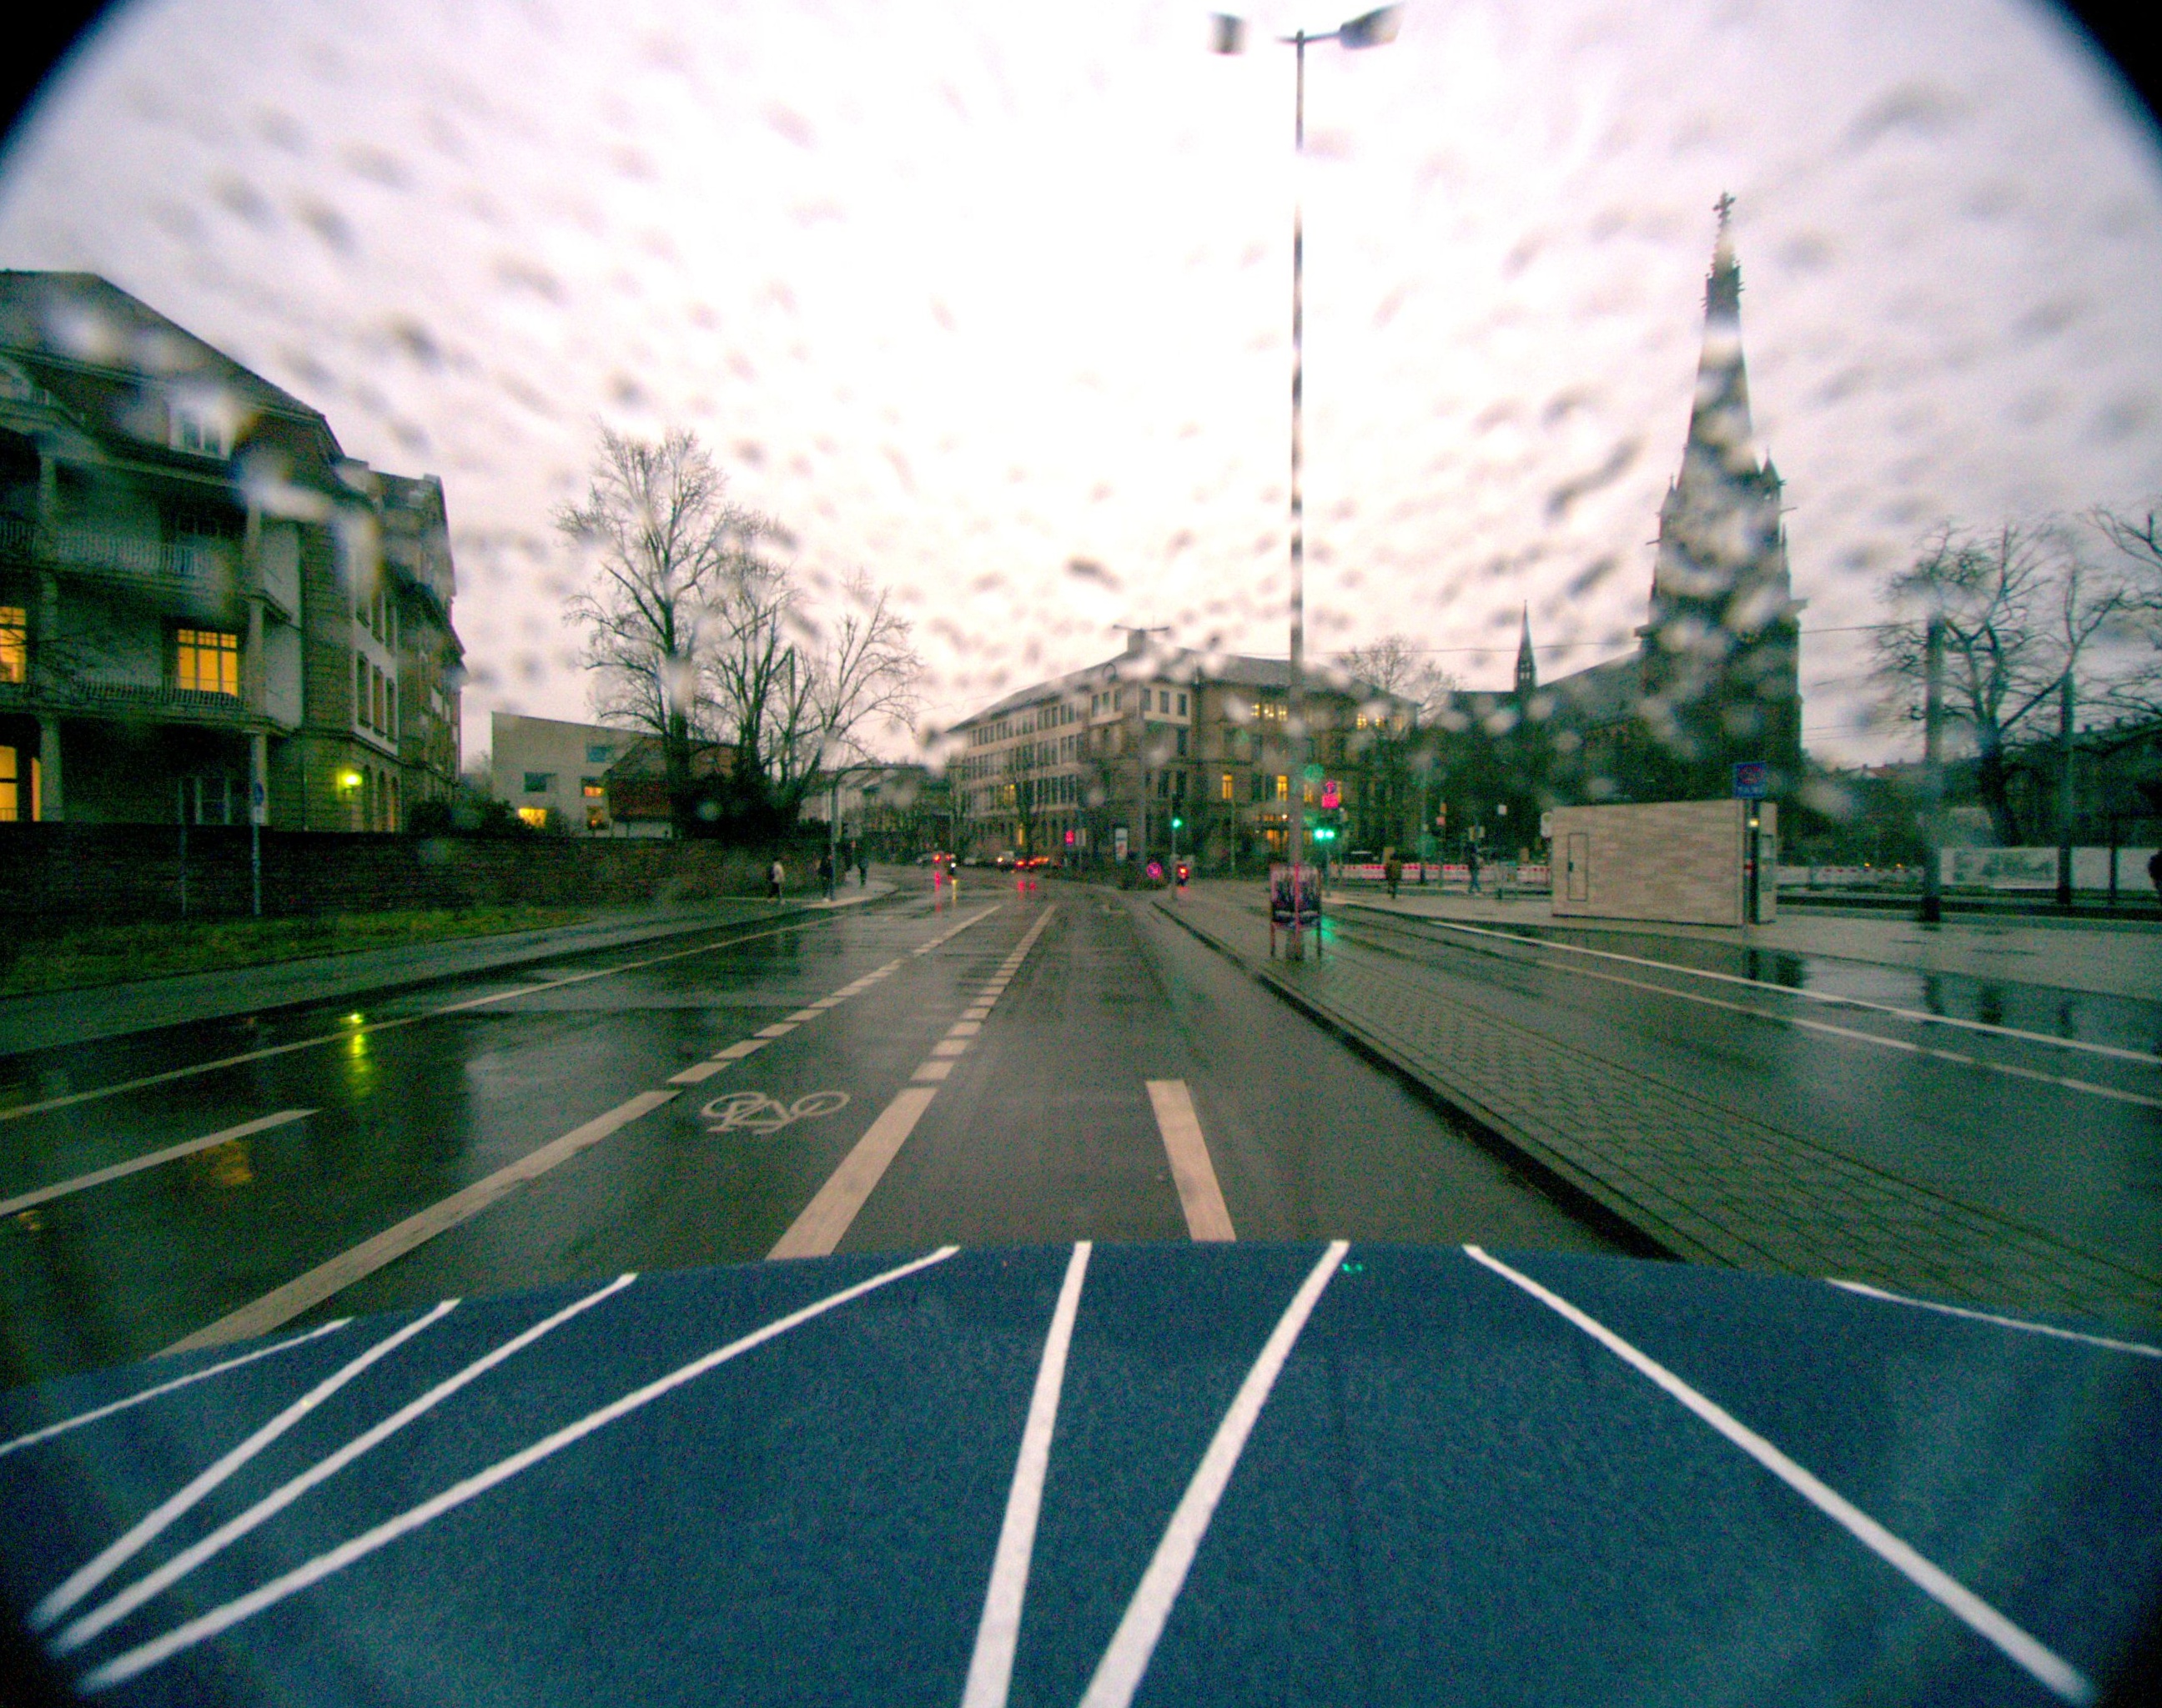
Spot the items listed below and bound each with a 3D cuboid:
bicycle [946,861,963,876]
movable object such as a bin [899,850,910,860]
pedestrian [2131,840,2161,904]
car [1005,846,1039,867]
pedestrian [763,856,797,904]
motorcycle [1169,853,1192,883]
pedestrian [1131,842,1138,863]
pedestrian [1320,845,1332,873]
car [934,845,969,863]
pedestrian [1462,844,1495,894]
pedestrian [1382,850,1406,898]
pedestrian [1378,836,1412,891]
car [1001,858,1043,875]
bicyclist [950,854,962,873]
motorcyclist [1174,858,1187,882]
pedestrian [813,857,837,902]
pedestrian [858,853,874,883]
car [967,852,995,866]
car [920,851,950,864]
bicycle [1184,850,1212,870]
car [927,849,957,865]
[{"bbox_3d":[-9.316,1.073,55.801,0.725,1.084,2.281,-2,0,-23],"label":"bicycle"},{"bbox_3d":[-26.426,0.085,113.749,1.341,1.456,0.987,-1,3,19],"label":"movable object such as a bin"},{"bbox_3d":[30.085,0.501,21.280,0.715,1.747,0.715,-2,3,-34],"label":"pedestrian"},{"bbox_3d":[-6.472,0.233,83.662,1.908,2.022,4.809,-1,2,19],"label":"car"},{"bbox_3d":[-10.842,0.915,27.375,0.964,1.666,0.777,0,1,-38],"label":"pedestrian"},{"bbox_3d":[5.076,0.678,38.863,0.831,1.488,2.314,0,1,-1],"label":"motorcycle"},{"bbox_3d":[5.131,-0.163,73.020,0.571,2.003,0.587,-1,3,5],"label":"pedestrian"},{"bbox_3d":[18.092,0.366,56.134,0.740,2.003,0.646,0,3,28],"label":"pedestrian"},{"bbox_3d":[-17.013,-0.026,99.951,1.961,2.042,4.629,0,3,29],"label":"car"},{"bbox_3d":[14.913,0.553,28.515,0.605,1.803,0.824,-4,1,-12],"label":"pedestrian"},{"bbox_3d":[11.218,0.699,27.235,0.673,1.665,0.731,0,3,32],"label":"pedestrian"},{"bbox_3d":[13.952,0.414,33.790,0.996,2.357,1.063,-2,3,-4],"label":"pedestrian"},{"bbox_3d":[-5.295,1.123,67.794,1.756,1.370,4.354,1,0,-34],"label":"car"},{"bbox_3d":[-9.177,0.681,55.790,0.718,1.335,0.718,-3,3,-22],"label":"bicyclist"},{"bbox_3d":[5.088,0.793,38.858,0.537,1.187,0.610,-2,3,0],"label":"motorcyclist"},{"bbox_3d":[-9.747,0.953,28.950,0.792,1.666,0.729,1,1,-12],"label":"pedestrian"},{"bbox_3d":[-12.193,0.785,43.076,0.808,1.675,1.155,1,0,-16],"label":"pedestrian"},{"bbox_3d":[-12.252,0.633,93.304,1.633,1.450,3.831,-1,2,23],"label":"car"},{"bbox_3d":[-20.040,0.489,104.275,1.771,1.582,4.191,0,2,27],"label":"car"},{"bbox_3d":[10.544,0.533,68.620,2.424,1.679,0.714,-1,3,17],"label":"bicycle"},{"bbox_3d":[-14.937,0.311,81.555,1.763,1.652,4.519,1,0,-28],"label":"car"}]
